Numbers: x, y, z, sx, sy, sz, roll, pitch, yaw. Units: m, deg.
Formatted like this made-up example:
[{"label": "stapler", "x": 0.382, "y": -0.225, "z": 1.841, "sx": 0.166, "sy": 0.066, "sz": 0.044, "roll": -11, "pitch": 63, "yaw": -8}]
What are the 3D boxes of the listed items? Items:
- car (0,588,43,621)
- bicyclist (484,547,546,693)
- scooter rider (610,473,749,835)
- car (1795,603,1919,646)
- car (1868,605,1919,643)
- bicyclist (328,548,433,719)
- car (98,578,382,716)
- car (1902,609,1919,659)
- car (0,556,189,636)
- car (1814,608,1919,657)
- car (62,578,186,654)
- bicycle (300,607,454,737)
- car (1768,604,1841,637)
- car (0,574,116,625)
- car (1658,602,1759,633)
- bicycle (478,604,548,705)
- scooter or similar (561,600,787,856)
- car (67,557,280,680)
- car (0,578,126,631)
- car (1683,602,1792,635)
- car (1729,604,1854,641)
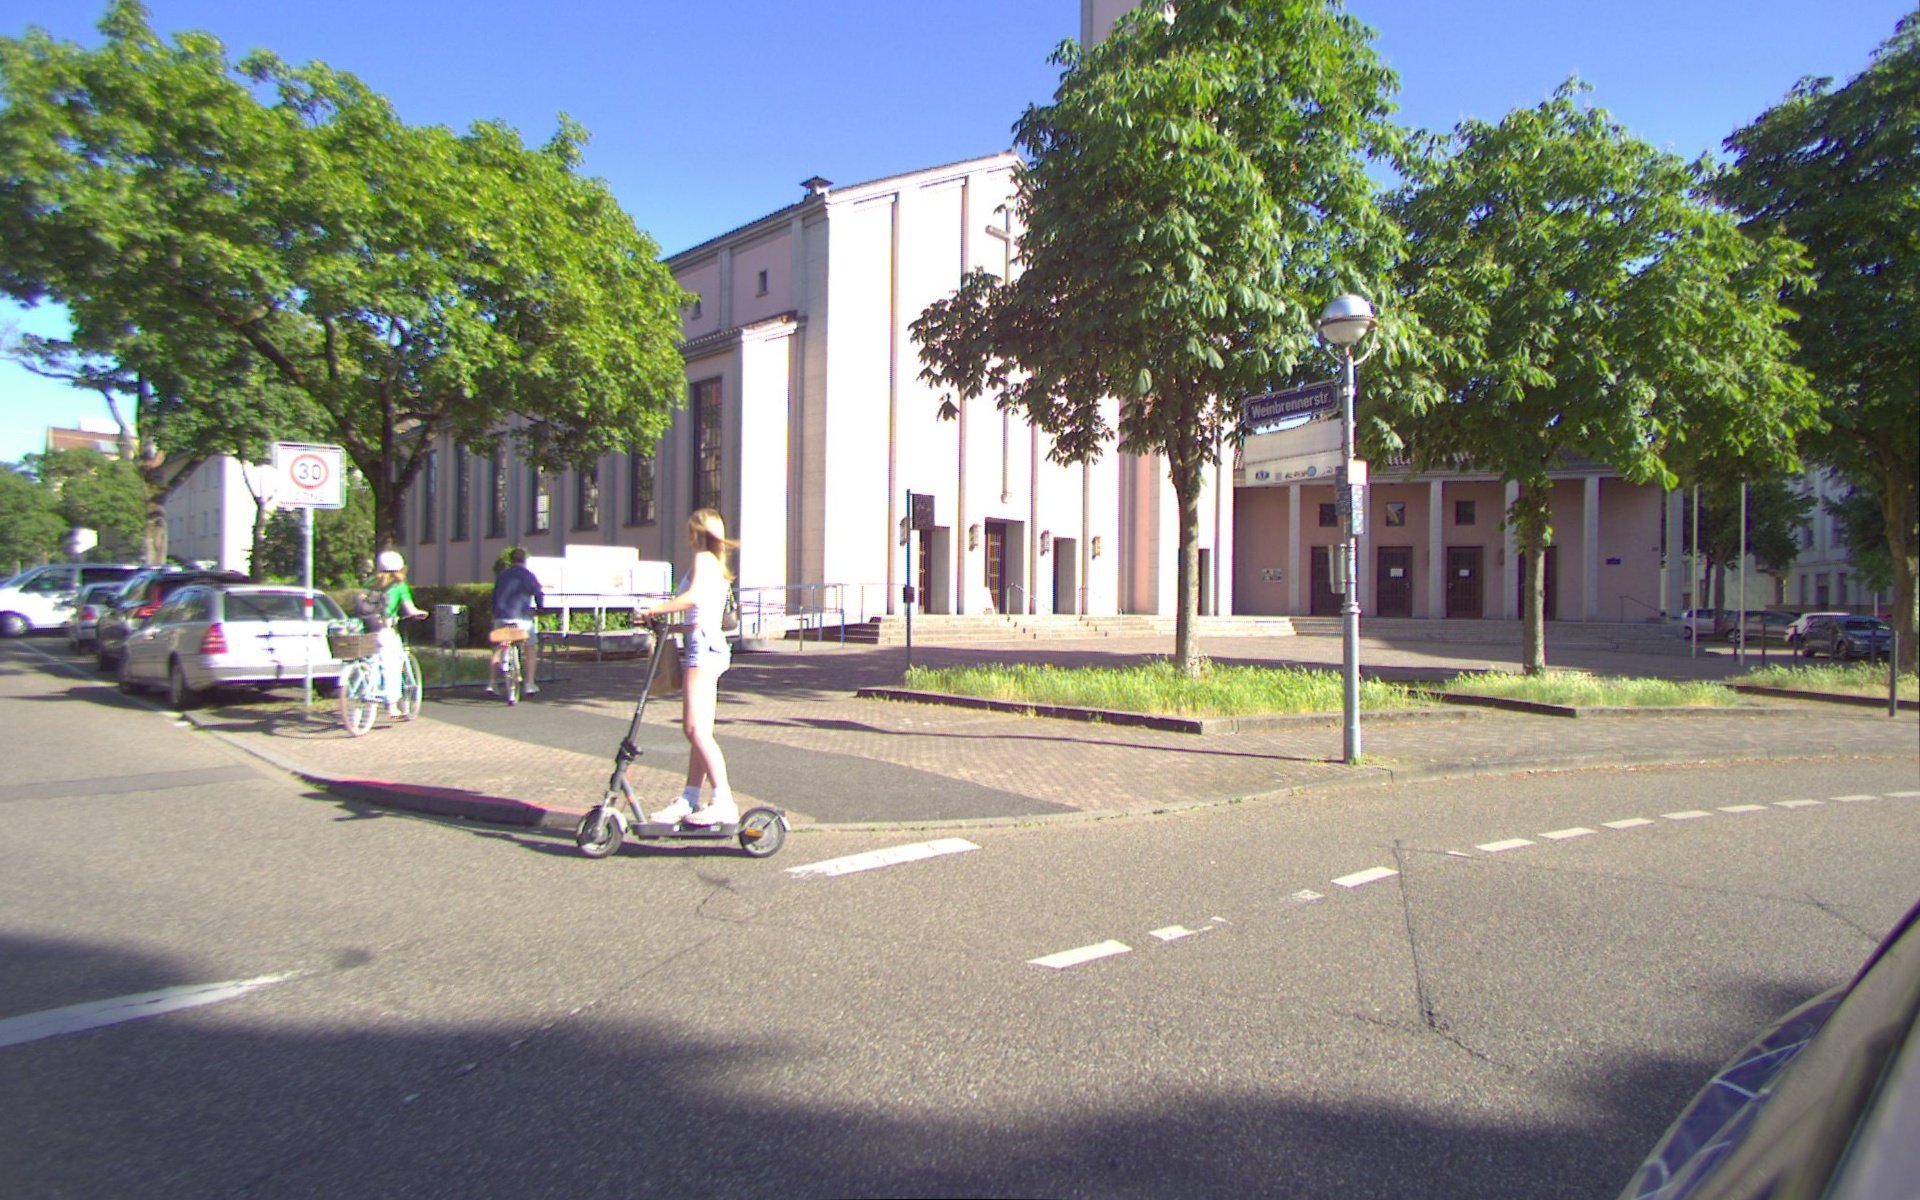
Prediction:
[{"label": "car", "x": -53.193, "y": 0.235, "z": 54.983, "sx": 1.800, "sy": 1.767, "sz": 4.712, "roll": 0, "pitch": -1, "yaw": 38}, {"label": "bicyclist", "x": -5.477, "y": 0.229, "z": 12.477, "sx": 0.632, "sy": 1.736, "sz": 0.724, "roll": 0, "pitch": 0, "yaw": -18}, {"label": "scooter rider", "x": -1.513, "y": 0.280, "z": 5.542, "sx": 0.619, "sy": 1.855, "sz": 0.626, "roll": 1, "pitch": -1, "yaw": -7}, {"label": "car", "x": 34.739, "y": 0.912, "z": 38.746, "sx": 1.727, "sy": 1.515, "sz": 3.956, "roll": 1, "pitch": 0, "yaw": -34}, {"label": "car", "x": 39.340, "y": 0.980, "z": 41.552, "sx": 1.740, "sy": 1.474, "sz": 3.927, "roll": 1, "pitch": 0, "yaw": 21}, {"label": "bicyclist", "x": -5.655, "y": 0.315, "z": 9.911, "sx": 0.584, "sy": 1.601, "sz": 0.805, "roll": 1, "pitch": 0, "yaw": -6}, {"label": "car", "x": -9.073, "y": 0.484, "z": 12.622, "sx": 4.317, "sy": 1.434, "sz": 1.784, "roll": 1, "pitch": -1, "yaw": 39}, {"label": "car", "x": 28.107, "y": 0.984, "z": 28.102, "sx": 1.594, "sy": 1.440, "sz": 3.589, "roll": 1, "pitch": 0, "yaw": 21}, {"label": "car", "x": -24.051, "y": -0.086, "z": 27.432, "sx": 1.800, "sy": 2.027, "sz": 4.712, "roll": 0, "pitch": -1, "yaw": 38}, {"label": "car", "x": 29.276, "y": 0.994, "z": 32.568, "sx": 1.594, "sy": 1.440, "sz": 3.589, "roll": 1, "pitch": 0, "yaw": 21}, {"label": "car", "x": -18.363, "y": 0.317, "z": 22.155, "sx": 1.779, "sy": 1.493, "sz": 4.328, "roll": 2, "pitch": -1, "yaw": -43}, {"label": "bicycle", "x": -5.667, "y": 0.651, "z": 9.958, "sx": 0.584, "sy": 1.121, "sz": 1.865, "roll": 1, "pitch": 0, "yaw": -6}, {"label": "car", "x": 43.954, "y": 1.029, "z": 52.757, "sx": 1.740, "sy": 1.637, "sz": 3.927, "roll": 1, "pitch": 0, "yaw": 21}, {"label": "car", "x": -33.378, "y": -0.005, "z": 36.139, "sx": 1.800, "sy": 1.767, "sz": 4.712, "roll": 0, "pitch": -1, "yaw": 38}, {"label": "car", "x": 39.661, "y": 0.925, "z": 53.723, "sx": 1.727, "sy": 1.515, "sz": 3.956, "roll": 1, "pitch": 0, "yaw": -34}, {"label": "bicycle", "x": -5.486, "y": 0.623, "z": 12.488, "sx": 0.632, "sy": 1.121, "sz": 1.721, "roll": 0, "pitch": 1, "yaw": -18}, {"label": "scooter or similar", "x": -1.520, "y": 0.661, "z": 5.535, "sx": 1.084, "sy": 1.299, "sz": 0.633, "roll": 1, "pitch": 0, "yaw": -7}, {"label": "car", "x": -12.886, "y": 0.257, "z": 16.486, "sx": 4.317, "sy": 1.750, "sz": 1.784, "roll": 1, "pitch": -1, "yaw": 39}, {"label": "car", "x": -28.058, "y": 0.142, "z": 30.715, "sx": 1.791, "sy": 1.529, "sz": 3.943, "roll": 0, "pitch": -1, "yaw": 38}, {"label": "car", "x": 38.680, "y": 0.888, "z": 50.432, "sx": 1.727, "sy": 1.515, "sz": 3.956, "roll": 1, "pitch": 0, "yaw": -34}, {"label": "car", "x": 36.761, "y": 0.953, "z": 44.846, "sx": 1.727, "sy": 1.515, "sz": 3.956, "roll": 1, "pitch": 0, "yaw": -34}]
